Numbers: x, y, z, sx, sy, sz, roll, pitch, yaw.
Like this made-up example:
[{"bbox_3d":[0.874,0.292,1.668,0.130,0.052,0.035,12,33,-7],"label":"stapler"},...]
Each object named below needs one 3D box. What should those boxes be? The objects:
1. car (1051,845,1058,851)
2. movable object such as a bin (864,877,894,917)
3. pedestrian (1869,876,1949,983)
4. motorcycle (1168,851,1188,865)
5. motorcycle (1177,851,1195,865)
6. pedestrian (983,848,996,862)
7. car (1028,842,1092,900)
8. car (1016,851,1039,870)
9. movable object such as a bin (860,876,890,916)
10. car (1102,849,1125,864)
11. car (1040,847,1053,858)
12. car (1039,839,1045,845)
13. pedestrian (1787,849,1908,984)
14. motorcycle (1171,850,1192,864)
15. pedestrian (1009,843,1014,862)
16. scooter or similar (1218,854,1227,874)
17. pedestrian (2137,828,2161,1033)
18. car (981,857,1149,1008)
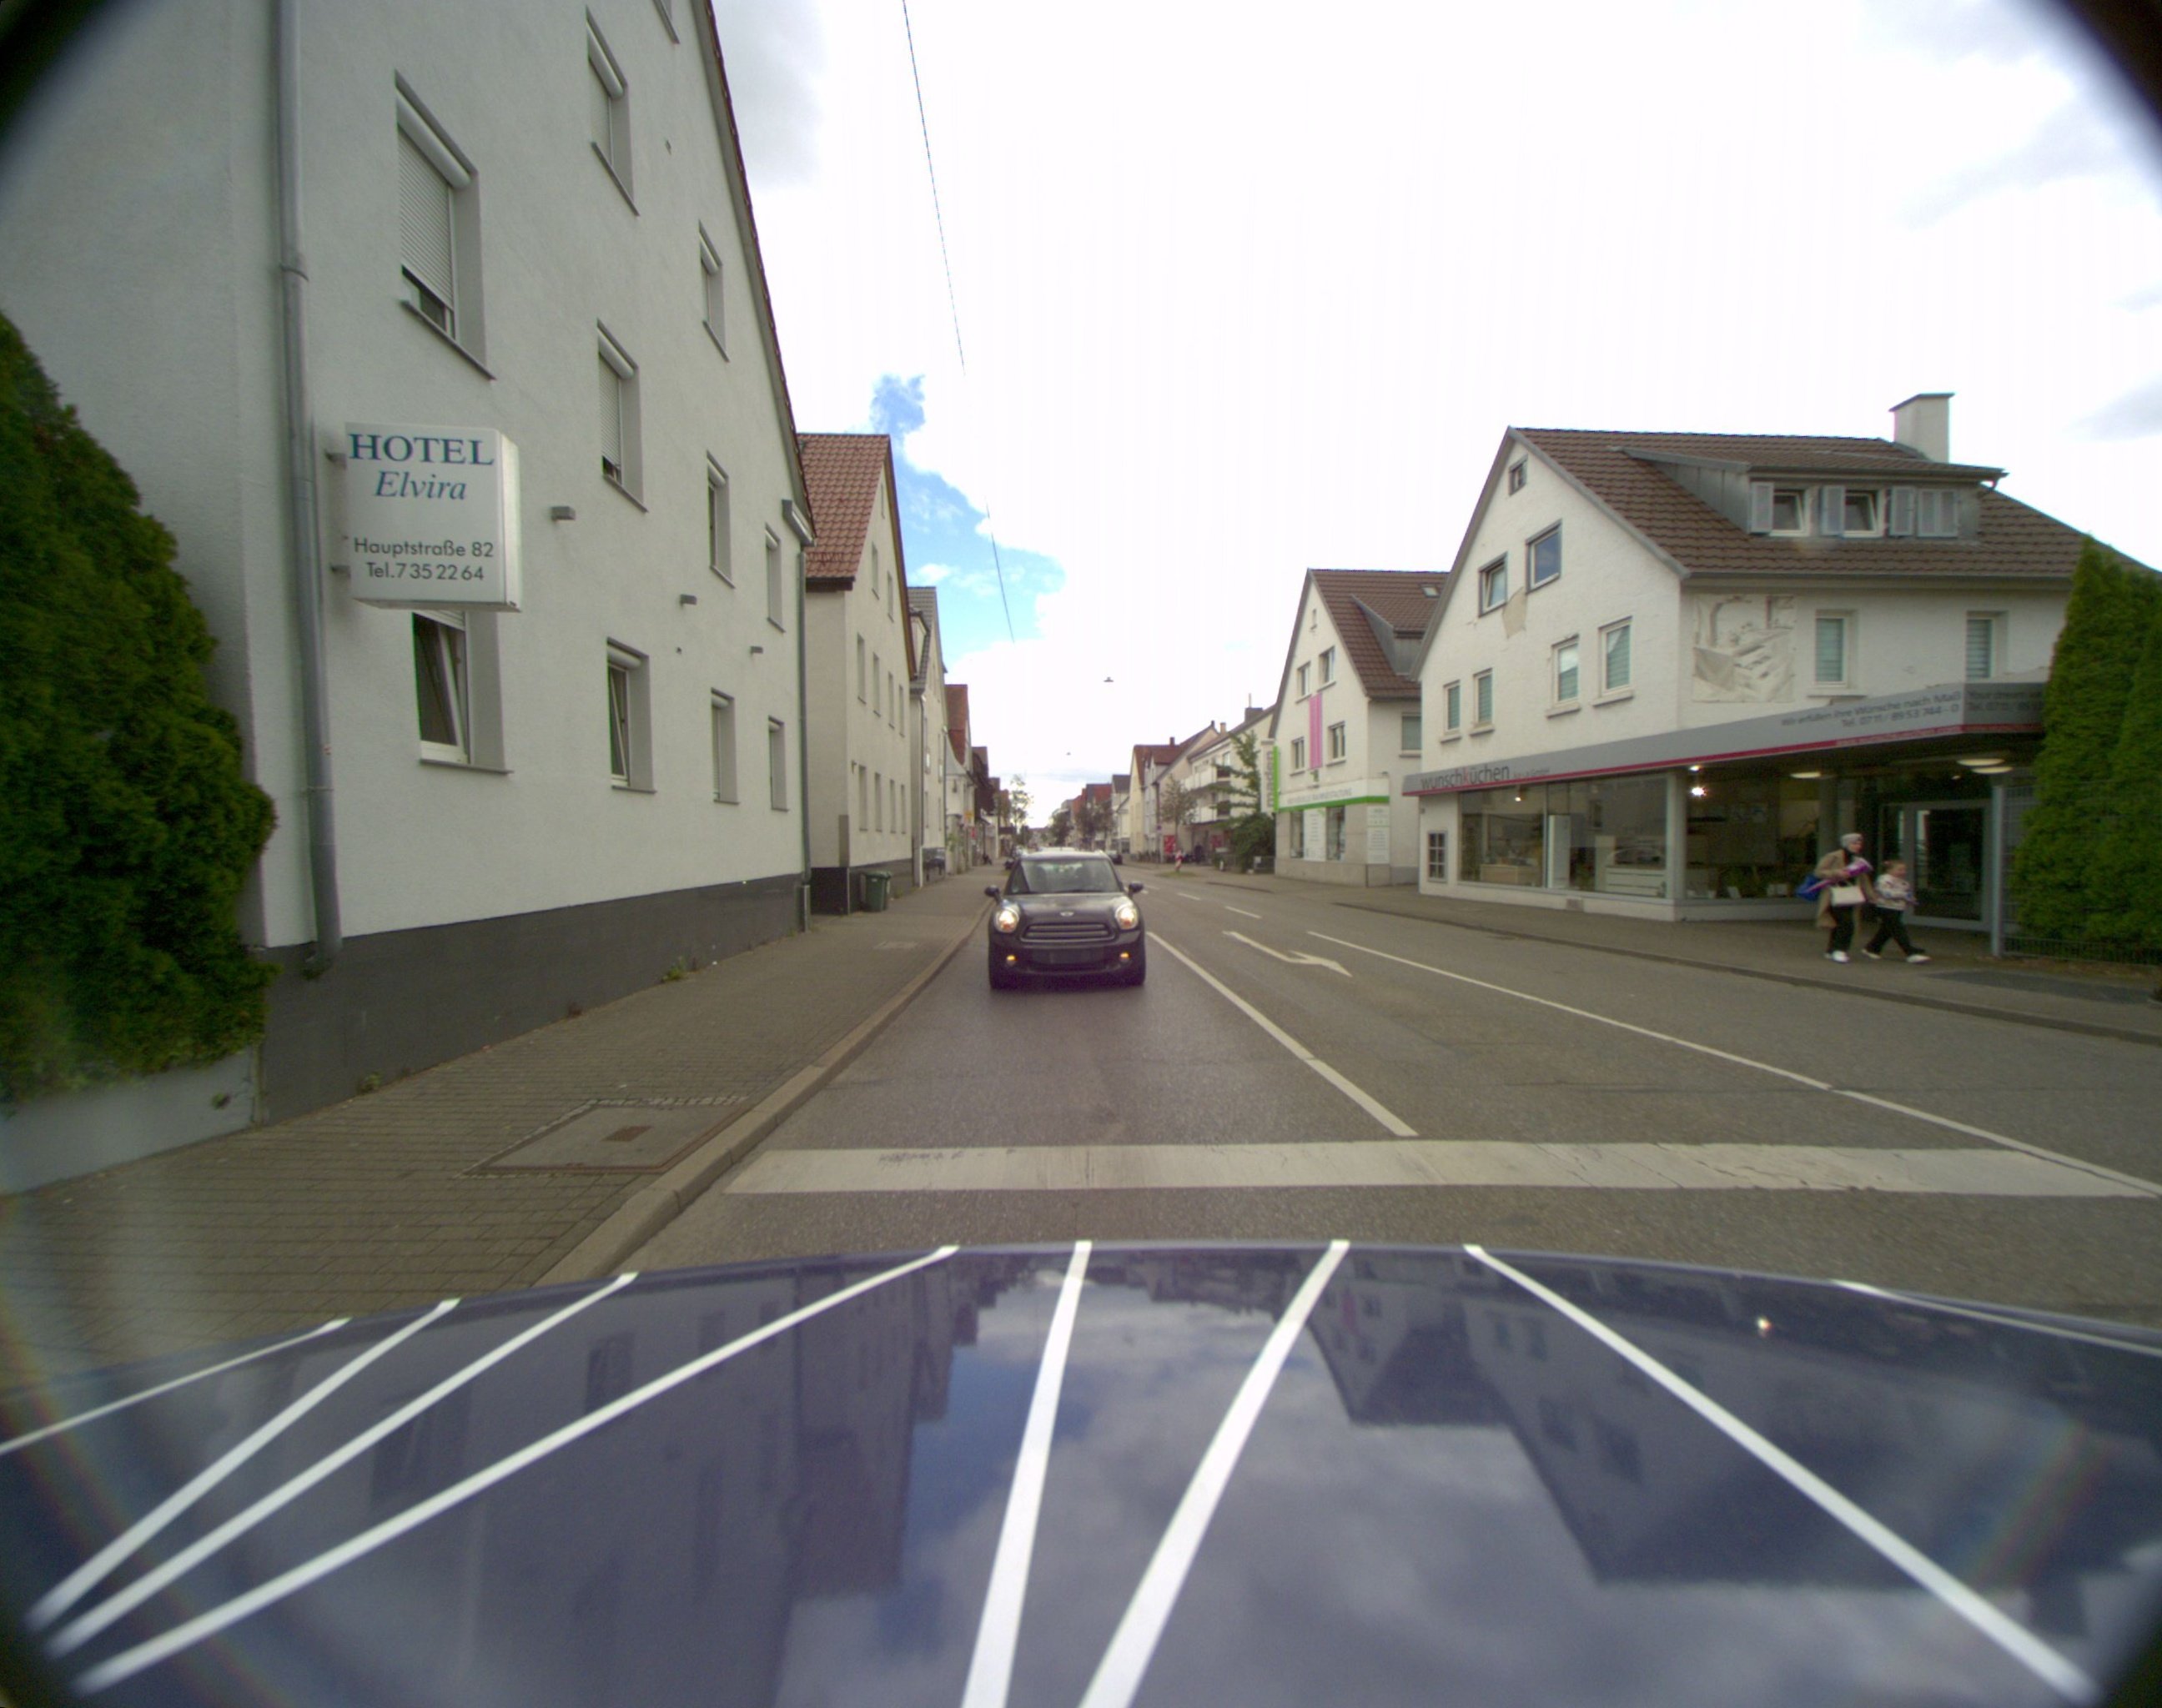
[{"bbox_3d":[-7.125,-1.572,205.070,1.846,1.510,3.998,-2,1,-3],"label":"car"},{"bbox_3d":[-4.807,1.017,18.099,0.565,0.898,0.519,1,1,-2],"label":"movable object such as a bin"},{"bbox_3d":[10.232,0.914,9.402,0.383,1.254,0.549,-2,2,-13],"label":"pedestrian"},{"bbox_3d":[8.128,0.302,63.697,1.515,1.099,0.589,-2,1,3],"label":"motorcycle"},{"bbox_3d":[8.687,0.326,62.916,1.430,1.017,0.525,-2,1,-3],"label":"motorcycle"},{"bbox_3d":[-8.330,0.125,69.040,0.982,1.272,0.667,0,1,9],"label":"pedestrian"},{"bbox_3d":[-0.776,0.473,25.154,1.811,1.556,4.614,-2,3,-5],"label":"car"},{"bbox_3d":[-4.618,0.546,65.405,1.846,1.510,3.997,-2,1,-5],"label":"car"},{"bbox_3d":[-4.771,0.962,17.608,0.565,0.898,0.519,1,1,-2],"label":"movable object such as a bin"},{"bbox_3d":[3.100,0.204,73.634,1.634,1.404,3.997,1,1,-6],"label":"car"},{"bbox_3d":[-4.995,-0.249,109.529,1.846,1.510,3.998,-2,1,-3],"label":"car"},{"bbox_3d":[-13.001,-4.003,252.749,1.951,2.118,4.320,1,1,-6],"label":"car"},{"bbox_3d":[9.625,0.746,9.562,0.642,1.596,0.865,-2,2,-13],"label":"pedestrian"},{"bbox_3d":[8.647,0.252,65.435,1.679,1.099,0.558,-2,1,-3],"label":"motorcycle"},{"bbox_3d":[-6.359,-0.153,69.584,0.497,1.744,0.451,0,1,-2],"label":"pedestrian"},{"bbox_3d":[8.454,0.575,45.309,0.465,1.117,1.829,-1,0,11],"label":"scooter or similar"},{"bbox_3d":[9.626,0.650,6.013,0.823,1.744,1.229,-2,1,-2],"label":"pedestrian"},{"bbox_3d":[-0.238,0.807,9.769,1.694,1.506,3.999,-1,0,-2],"label":"car"}]
